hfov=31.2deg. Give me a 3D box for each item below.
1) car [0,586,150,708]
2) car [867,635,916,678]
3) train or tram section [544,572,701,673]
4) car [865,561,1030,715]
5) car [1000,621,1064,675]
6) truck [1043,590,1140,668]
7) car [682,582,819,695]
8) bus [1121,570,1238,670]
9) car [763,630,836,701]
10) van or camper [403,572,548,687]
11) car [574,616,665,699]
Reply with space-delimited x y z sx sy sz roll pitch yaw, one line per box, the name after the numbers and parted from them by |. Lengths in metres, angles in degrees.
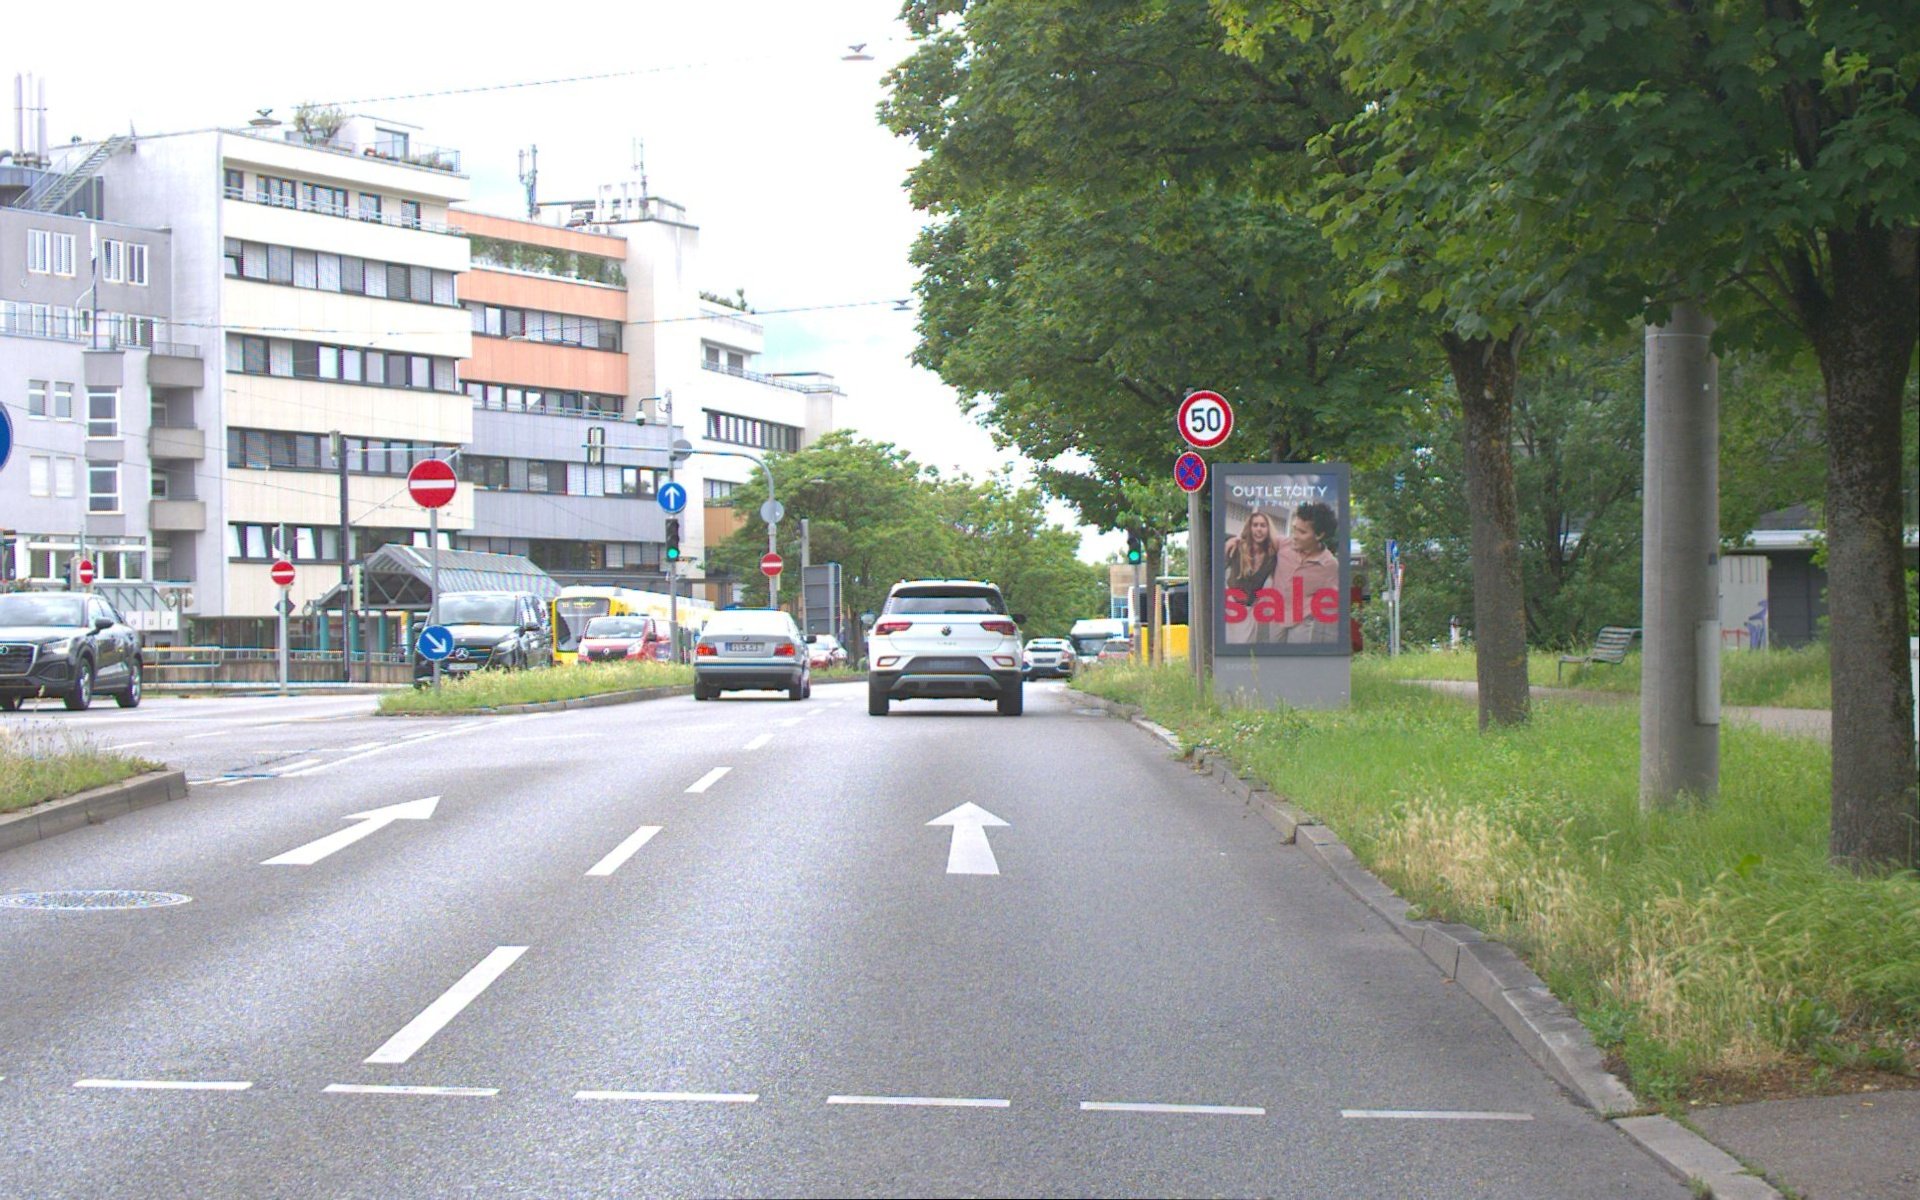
-11.551 0.555 43.008 1.861 1.423 4.000 0 1 0 | car
-2.422 2.023 122.051 1.614 1.441 3.652 -1 -2 1 | car
-11.954 0.896 123.296 2.560 3.399 13.077 -1 -1 8 | train or tram section
-0.108 0.404 40.369 1.700 1.543 3.736 3 2 2 | car
2.353 1.568 113.037 1.770 1.565 4.286 -1 2 -3 | car
7.246 1.596 186.679 2.955 4.066 16.593 0 -1 10 | truck
-3.173 0.563 52.619 1.700 1.510 3.736 0 3 3 | car
7.363 0.697 113.995 2.955 3.180 9.924 0 -1 9 | bus
-4.970 2.003 106.928 1.993 1.584 4.836 1 6 0 | car
-8.577 0.516 61.258 1.926 1.931 5.248 1 0 -1 | van or camper
-9.468 1.572 95.853 1.993 2.006 4.835 1 2 0 | car
